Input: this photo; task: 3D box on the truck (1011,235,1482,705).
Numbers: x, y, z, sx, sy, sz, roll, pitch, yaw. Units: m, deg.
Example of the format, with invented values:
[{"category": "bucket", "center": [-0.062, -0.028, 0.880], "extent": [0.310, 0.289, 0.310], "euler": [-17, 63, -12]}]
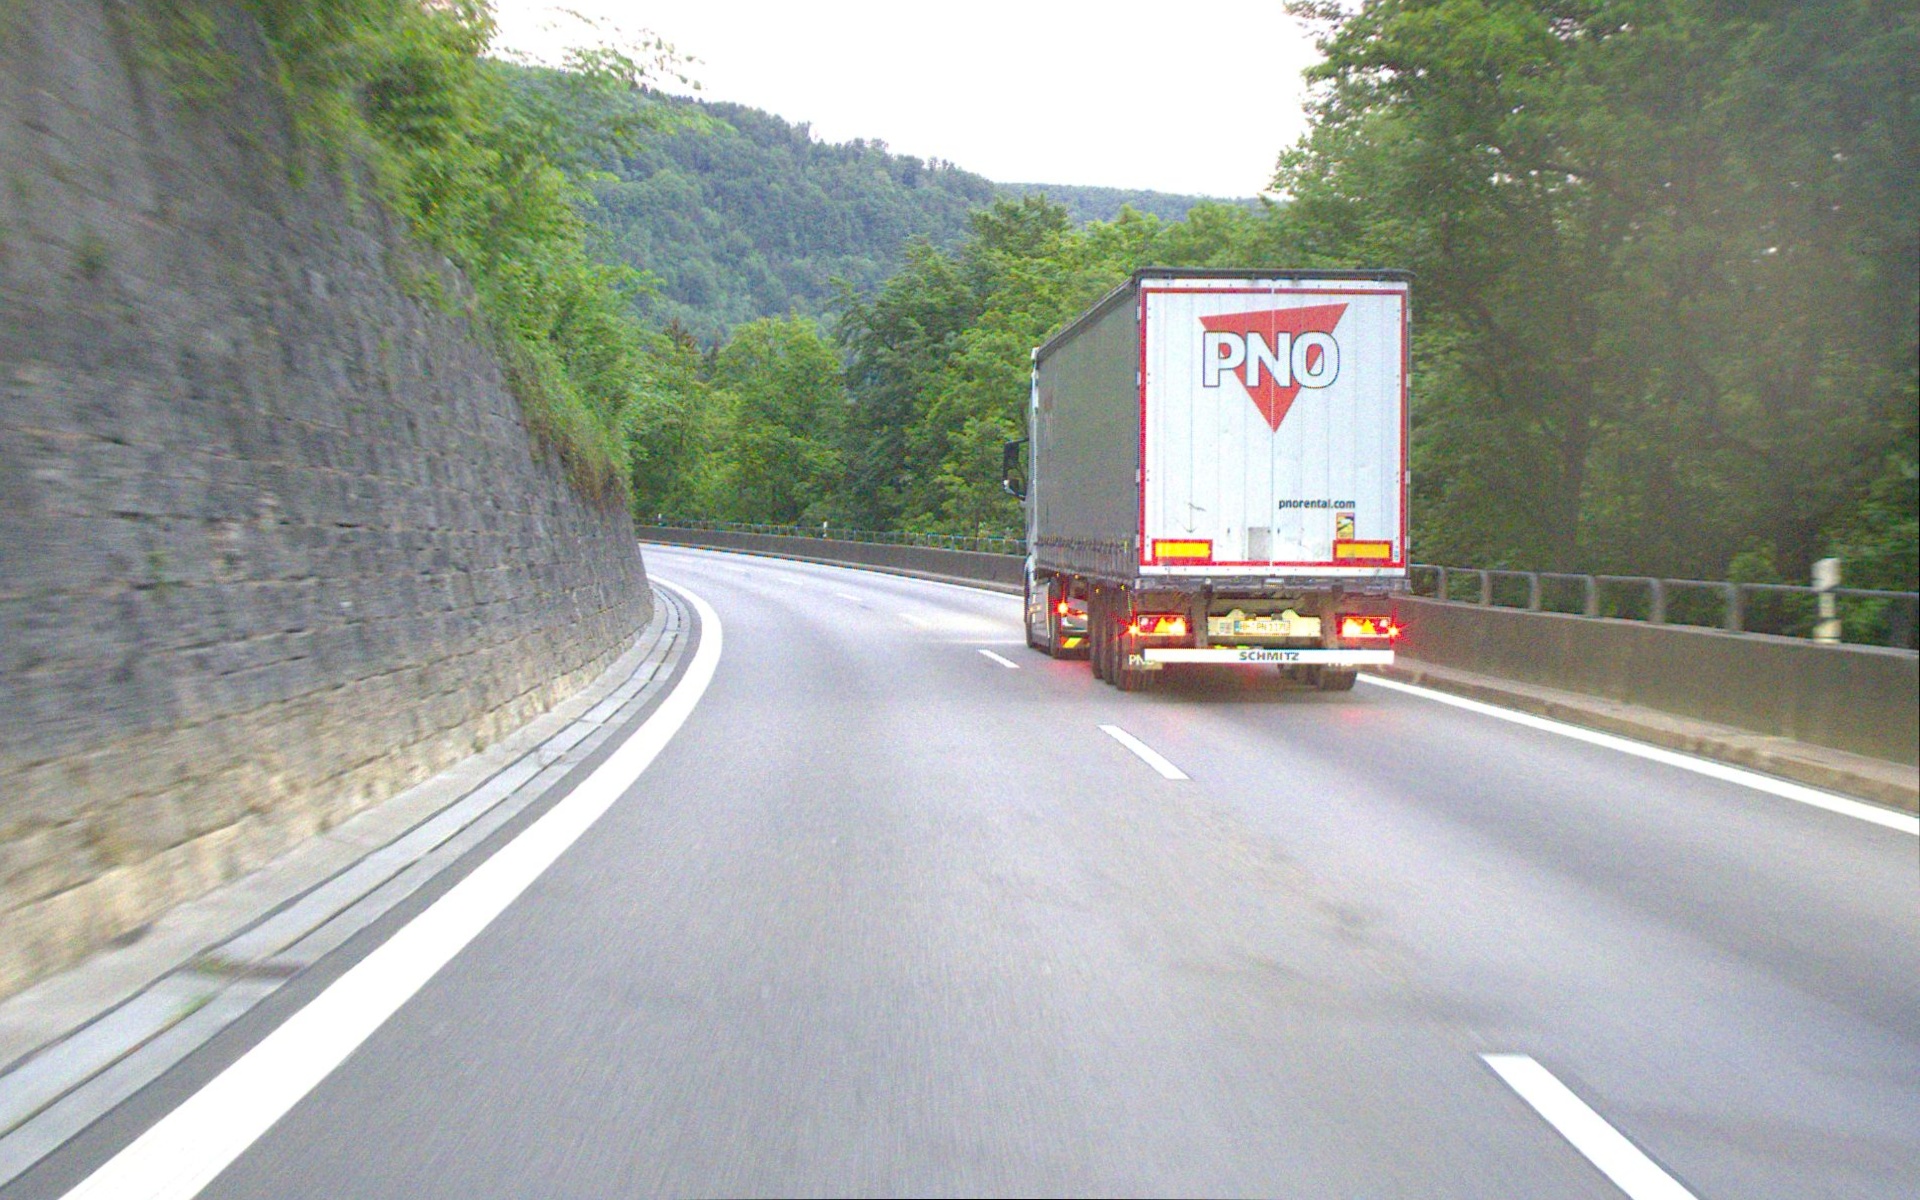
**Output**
[{"category": "truck", "center": [2.707, -1.305, 39.259], "extent": [3.294, 4.158, 16.505], "euler": [1, 1, -2]}]
